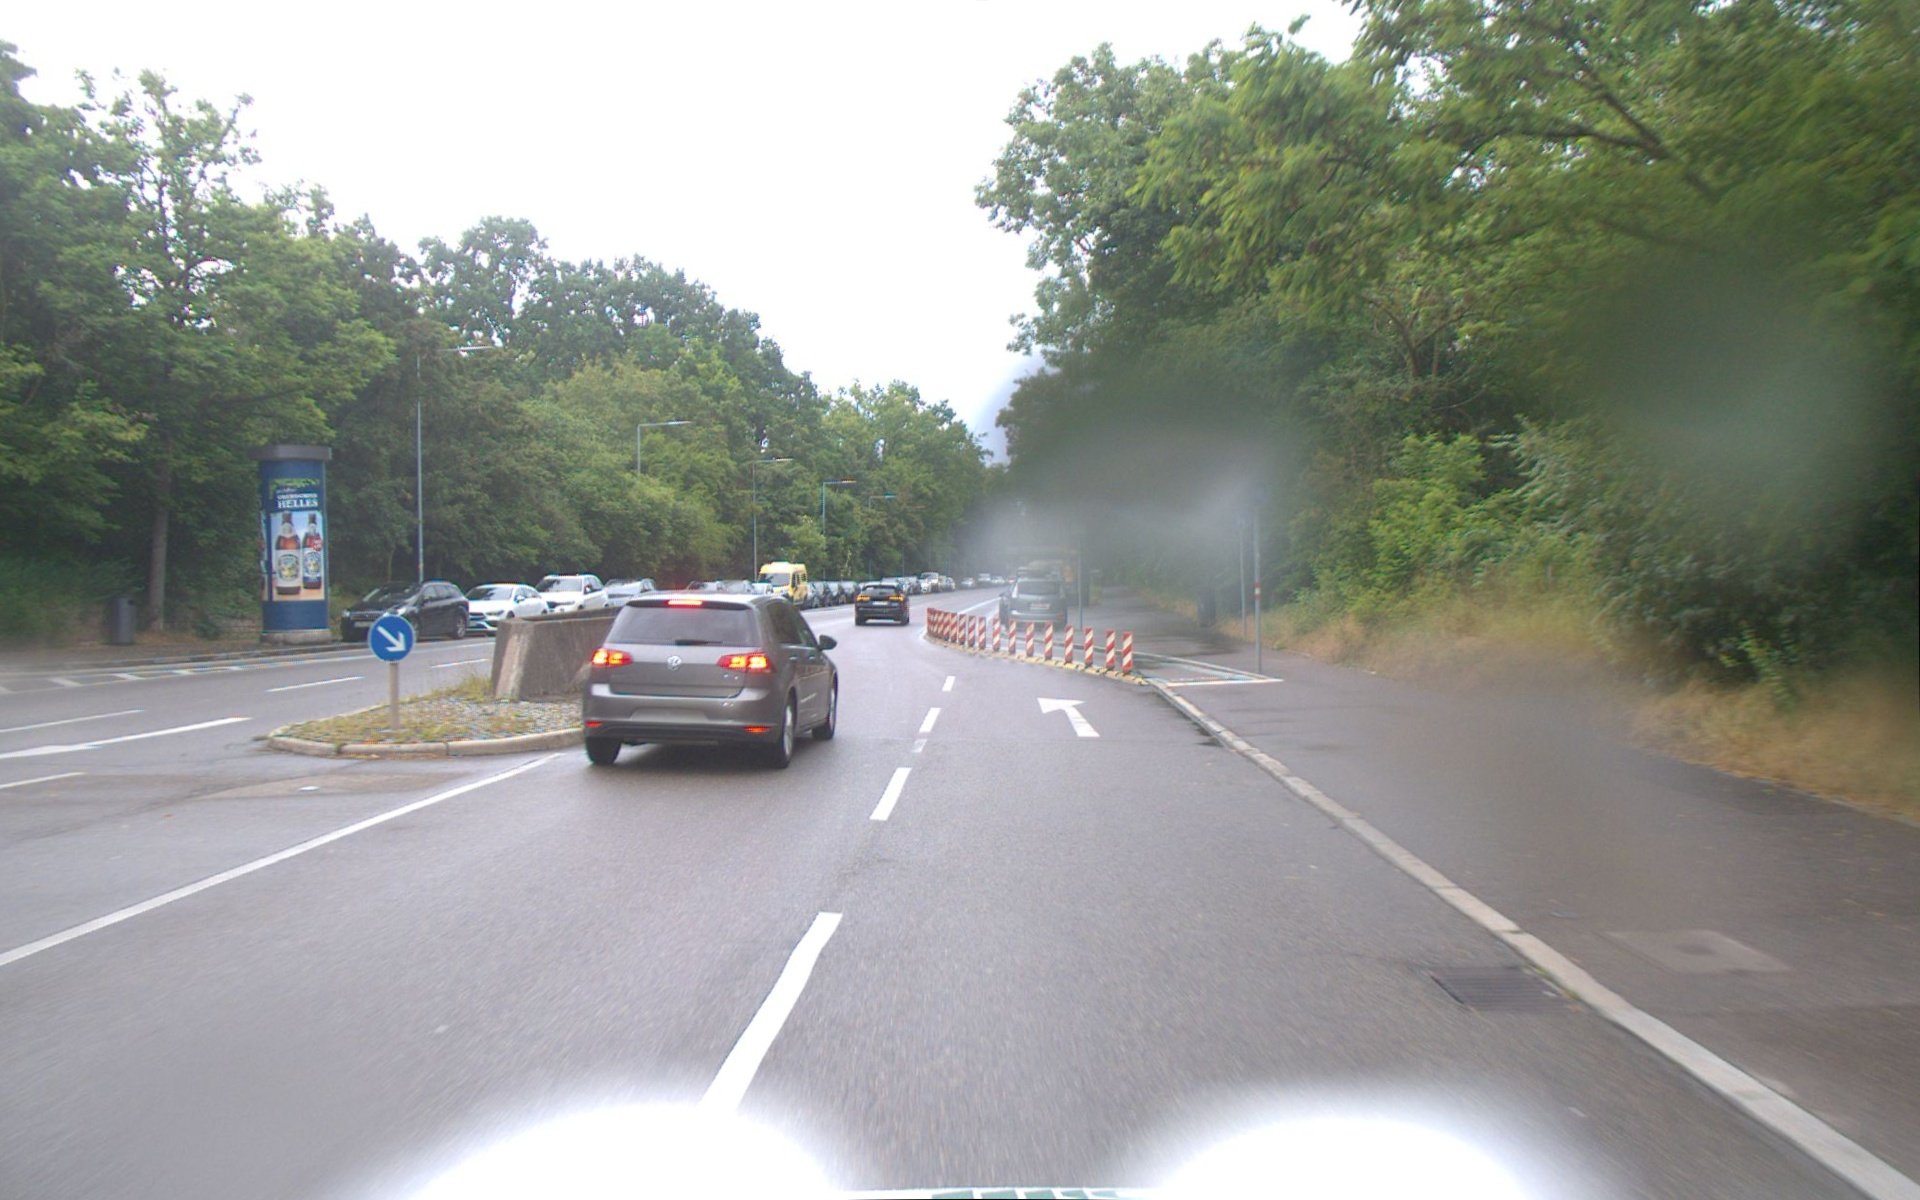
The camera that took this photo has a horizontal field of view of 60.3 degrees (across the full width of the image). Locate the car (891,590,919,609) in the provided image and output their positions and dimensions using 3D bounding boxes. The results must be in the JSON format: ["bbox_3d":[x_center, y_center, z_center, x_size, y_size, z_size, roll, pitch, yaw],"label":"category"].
[{"bbox_3d":[-4.733,-0.040,143.364,1.840,1.589,4.471,0,0,5],"label":"car"}]

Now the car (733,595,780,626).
[{"bbox_3d":[-10.202,0.524,83.016,1.583,1.474,3.659,-1,0,5],"label":"car"}]

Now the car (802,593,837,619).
[{"bbox_3d":[-8.486,0.343,100.345,1.568,1.536,3.141,0,1,6],"label":"car"}]

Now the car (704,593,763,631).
[{"bbox_3d":[-10.643,0.524,78.038,1.952,1.730,4.617,0,0,3],"label":"car"}]

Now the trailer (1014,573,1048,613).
[{"bbox_3d":[4.231,-0.419,98.223,1.866,2.287,4.770,0,0,4],"label":"trailer"}]

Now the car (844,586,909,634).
[{"bbox_3d":[-2.783,0.315,56.143,1.842,1.491,4.001,2,1,2],"label":"car"}]

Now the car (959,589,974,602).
[{"bbox_3d":[0.883,-0.574,208.640,1.637,1.540,3.632,1,1,4],"label":"car"}]

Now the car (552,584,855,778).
[{"bbox_3d":[-2.154,0.668,15.139,1.832,1.466,4.298,1,-1,3],"label":"car"}]

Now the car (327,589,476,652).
[{"bbox_3d":[-13.857,0.474,41.346,1.712,1.470,4.590,1,0,7],"label":"car"}]

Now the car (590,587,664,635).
[{"bbox_3d":[-12.211,0.372,60.882,1.695,1.677,4.572,1,0,1],"label":"car"}]

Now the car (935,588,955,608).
[{"bbox_3d":[-1.591,-0.229,174.307,1.899,2.049,4.741,0,0,2],"label":"car"}]

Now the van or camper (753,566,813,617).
[{"bbox_3d":[-9.519,-0.473,89.538,2.098,2.673,5.686,0,0,5],"label":"van or camper"}]

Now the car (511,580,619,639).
[{"bbox_3d":[-12.607,0.282,53.076,1.951,1.796,4.963,0,0,4],"label":"car"}]

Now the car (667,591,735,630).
[{"bbox_3d":[-11.277,0.449,72.370,1.878,1.645,4.492,-1,0,5],"label":"car"}]

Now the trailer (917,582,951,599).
[{"bbox_3d":[-2.673,-0.965,168.616,1.598,1.657,3.659,0,0,35],"label":"trailer"}]

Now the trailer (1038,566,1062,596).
[{"bbox_3d":[7.846,-1.679,144.675,2.087,2.605,4.299,0,0,3],"label":"trailer"}]

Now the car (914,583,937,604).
[{"bbox_3d":[-3.402,-0.696,163.851,1.899,2.049,4.741,0,0,2],"label":"car"}]

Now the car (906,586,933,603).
[{"bbox_3d":[-3.734,-0.518,152.833,1.951,1.514,4.471,0,0,5],"label":"car"}]

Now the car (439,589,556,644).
[{"bbox_3d":[-13.132,0.435,47.204,1.682,1.486,4.711,0,0,5],"label":"car"}]

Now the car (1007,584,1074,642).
[{"bbox_3d":[2.365,0.384,49.372,1.785,1.643,4.251,1,0,0],"label":"car"}]

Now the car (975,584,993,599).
[{"bbox_3d":[3.369,-1.170,233.628,2.113,2.049,5.034,0,0,6],"label":"car"}]

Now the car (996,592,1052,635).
[{"bbox_3d":[2.258,0.472,59.305,1.815,1.423,4.385,1,0,0],"label":"car"}]
